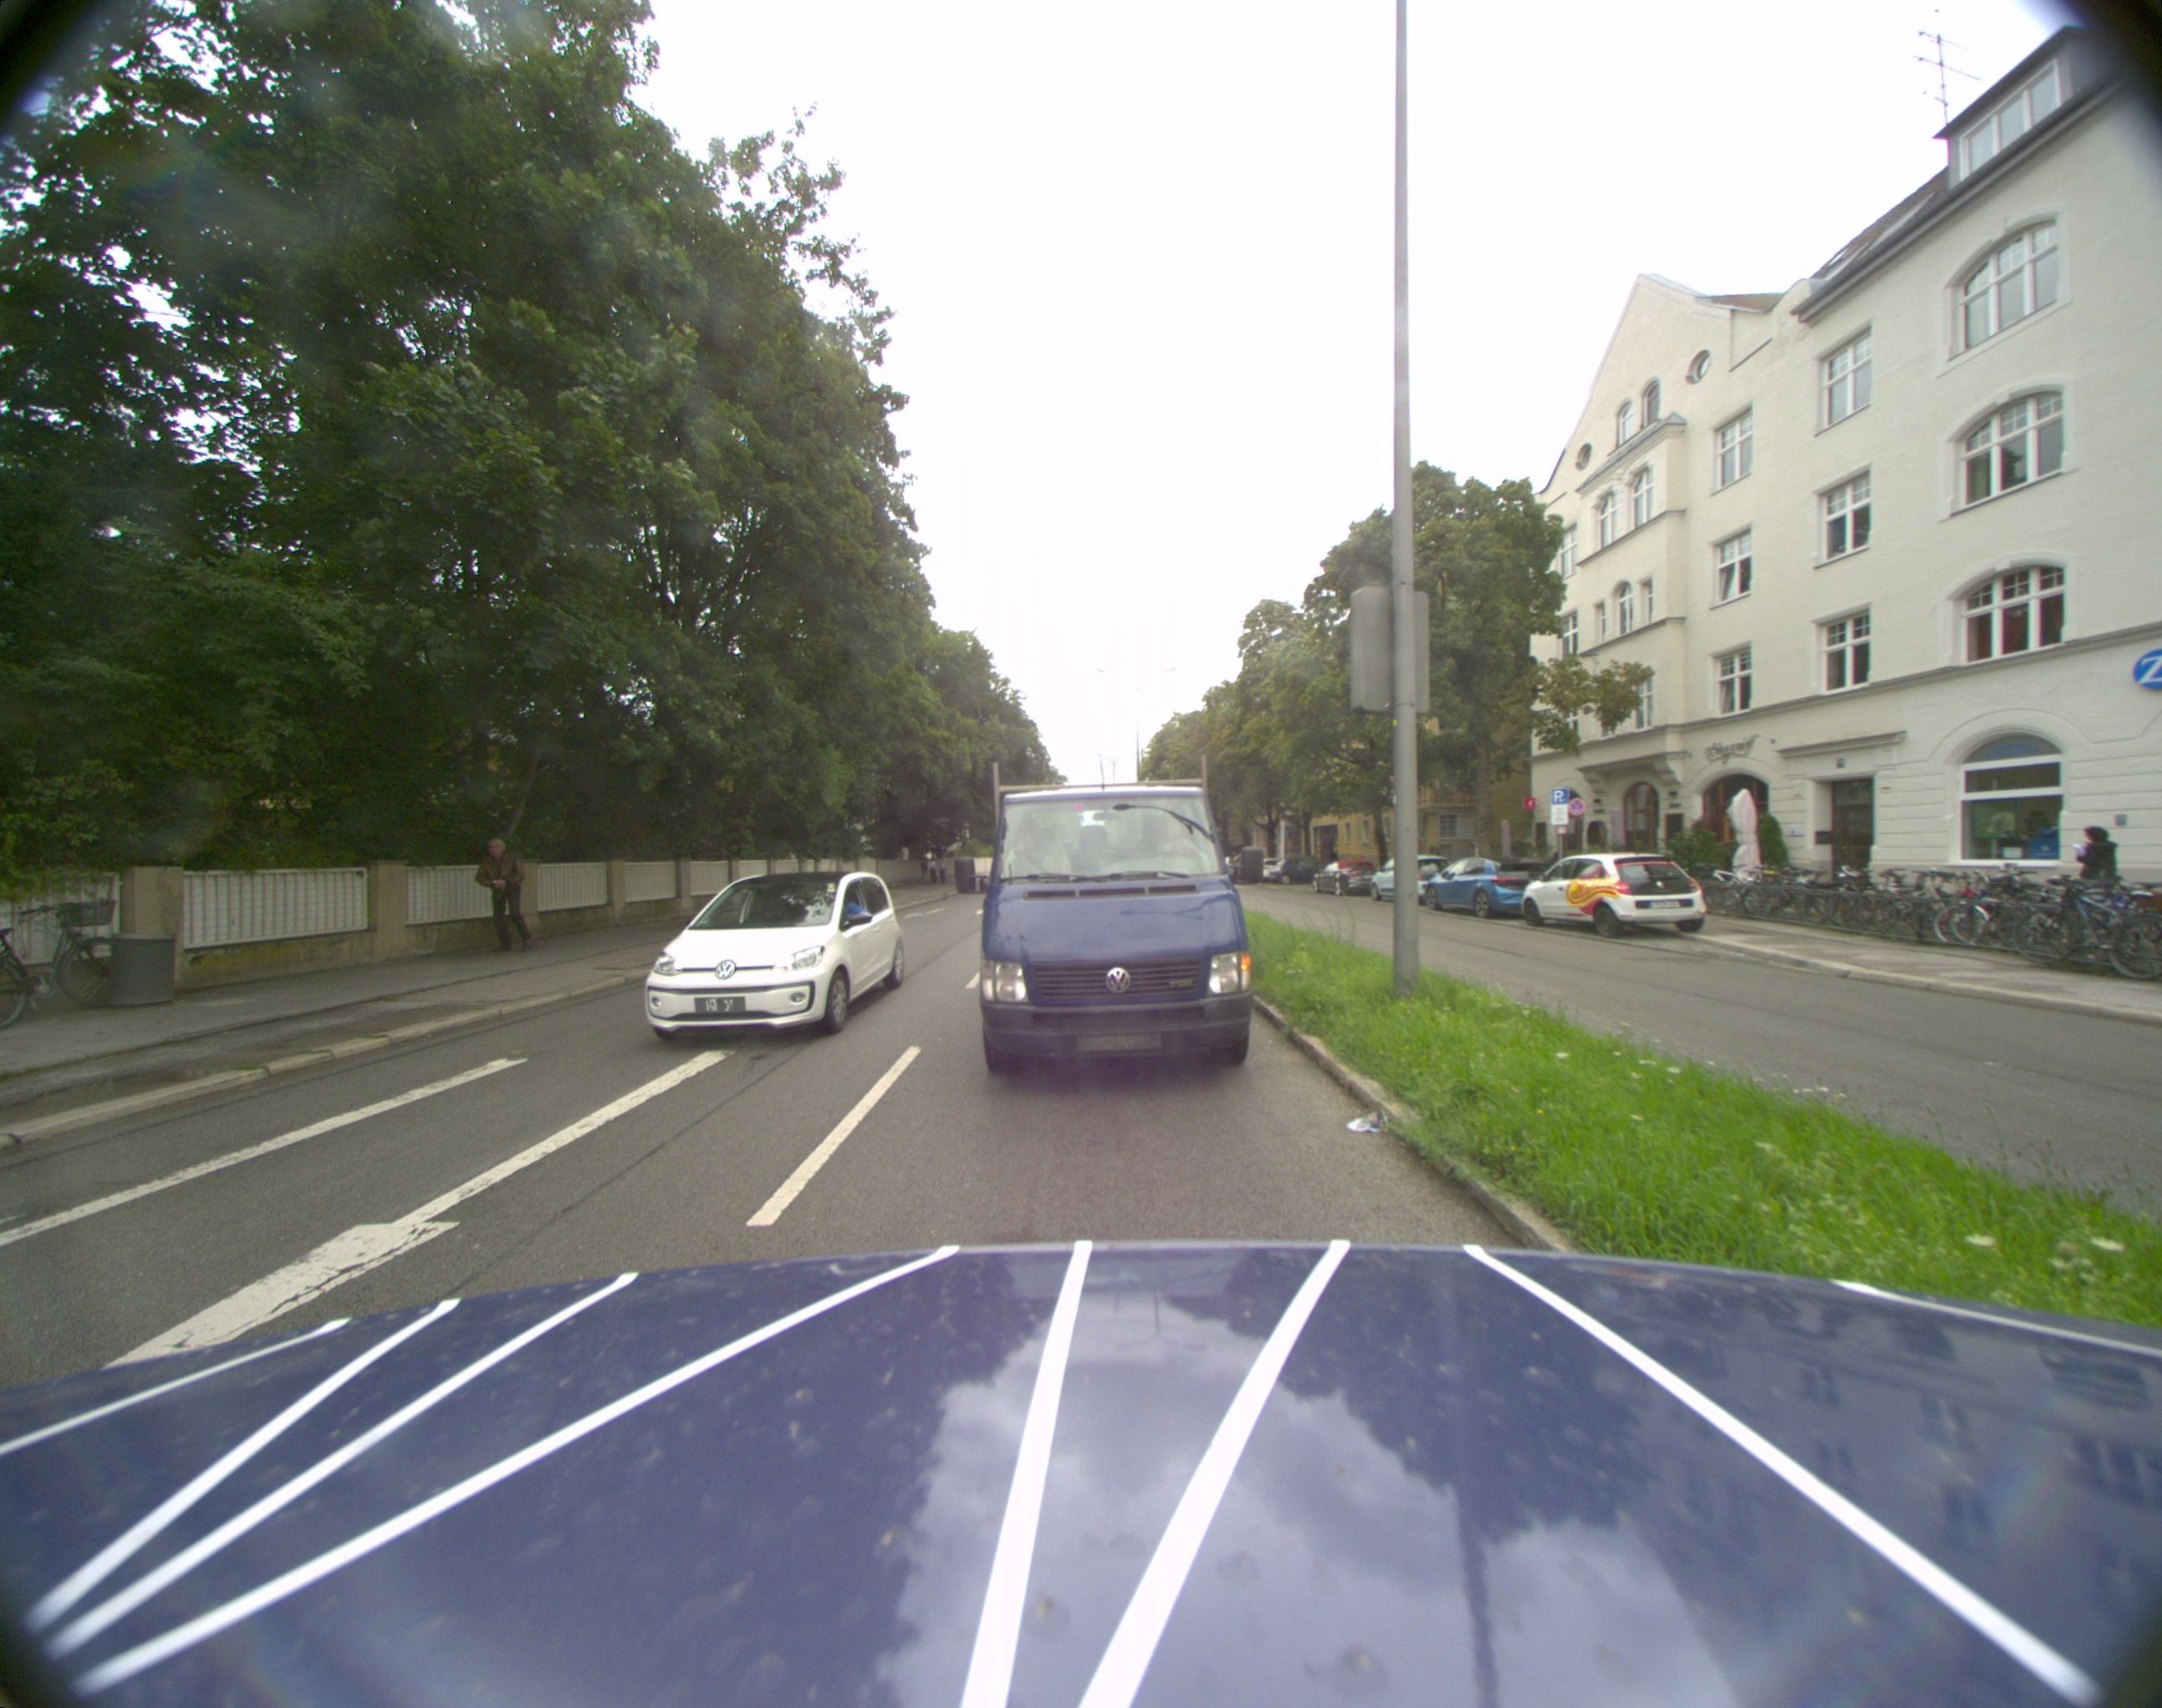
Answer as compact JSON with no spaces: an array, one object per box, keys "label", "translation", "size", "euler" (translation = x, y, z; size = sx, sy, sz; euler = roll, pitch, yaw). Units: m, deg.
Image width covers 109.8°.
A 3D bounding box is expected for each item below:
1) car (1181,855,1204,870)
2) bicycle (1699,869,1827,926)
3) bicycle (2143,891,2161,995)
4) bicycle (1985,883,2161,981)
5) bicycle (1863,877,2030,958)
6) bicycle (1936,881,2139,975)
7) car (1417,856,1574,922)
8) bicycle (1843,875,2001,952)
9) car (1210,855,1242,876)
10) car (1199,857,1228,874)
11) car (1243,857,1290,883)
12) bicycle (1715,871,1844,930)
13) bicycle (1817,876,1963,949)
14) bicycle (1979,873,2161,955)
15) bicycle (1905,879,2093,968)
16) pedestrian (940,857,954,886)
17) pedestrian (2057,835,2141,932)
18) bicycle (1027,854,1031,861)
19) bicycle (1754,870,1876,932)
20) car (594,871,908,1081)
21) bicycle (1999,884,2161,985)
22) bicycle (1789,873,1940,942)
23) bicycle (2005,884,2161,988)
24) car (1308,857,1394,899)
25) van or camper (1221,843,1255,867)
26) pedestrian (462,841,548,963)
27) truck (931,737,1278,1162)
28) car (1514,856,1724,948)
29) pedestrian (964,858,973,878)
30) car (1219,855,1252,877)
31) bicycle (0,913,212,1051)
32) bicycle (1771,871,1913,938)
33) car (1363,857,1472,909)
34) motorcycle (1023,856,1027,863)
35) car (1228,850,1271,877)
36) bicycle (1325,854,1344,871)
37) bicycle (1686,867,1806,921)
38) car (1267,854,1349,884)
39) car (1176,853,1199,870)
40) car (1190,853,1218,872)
[{"label":"car","translation":[11.092,0.810,75.732],"size":[1.696,1.446,4.492],"euler":[-1,0,1]},{"label":"bicycle","translation":[14.572,0.896,16.294],"size":[0.505,1.109,1.984],"euler":[-1,0,-31]},{"label":"bicycle","translation":[12.094,0.965,7.601],"size":[0.331,1.109,1.678],"euler":[-1,0,-23]},{"label":"bicycle","translation":[12.679,0.945,9.537],"size":[0.367,1.109,1.678],"euler":[-1,0,-23]},{"label":"bicycle","translation":[13.175,0.923,11.634],"size":[0.331,1.109,1.678],"euler":[-1,0,-23]},{"label":"bicycle","translation":[12.839,0.951,10.273],"size":[0.331,1.109,1.678],"euler":[-1,0,-23]},{"label":"car","translation":[10.686,0.824,20.002],"size":[1.815,1.498,4.291],"euler":[-1,0,1]},{"label":"bicycle","translation":[13.443,0.908,12.210],"size":[0.331,1.109,1.678],"euler":[-1,0,-23]},{"label":"car","translation":[11.294,0.874,59.274],"size":[1.731,1.552,4.057],"euler":[-1,0,1]},{"label":"car","translation":[11.184,0.940,64.192],"size":[1.731,1.398,4.363],"euler":[-1,0,1]},{"label":"car","translation":[10.953,0.900,45.052],"size":[1.731,1.394,4.404],"euler":[-1,0,1]},{"label":"bicycle","translation":[14.259,0.921,15.570],"size":[0.550,1.109,1.877],"euler":[-1,0,-31]},{"label":"bicycle","translation":[13.625,0.956,12.863],"size":[0.331,1.109,1.678],"euler":[-1,0,-23]},{"label":"bicycle","translation":[14.767,0.853,11.376],"size":[0.331,1.109,1.678],"euler":[-1,0,-23]},{"label":"bicycle","translation":[13.004,0.941,10.833],"size":[0.383,1.109,1.678],"euler":[-1,0,-23]},{"label":"pedestrian","translation":[-7.927,1.029,44.969],"size":[0.668,1.695,0.766],"euler":[1,1,0]},{"label":"pedestrian","translation":[17.481,0.495,13.066],"size":[0.422,1.622,0.783],"euler":[-1,1,7]},{"label":"bicycle","translation":[-8.851,0.622,129.079],"size":[0.490,1.092,1.631],"euler":[-1,0,-10]},{"label":"bicycle","translation":[14.208,0.876,14.762],"size":[0.331,1.109,1.677],"euler":[-1,0,-27]},{"label":"car","translation":[-3.022,1.009,7.818],"size":[1.647,1.553,3.586],"euler":[-1,0,0]},{"label":"bicycle","translation":[12.399,0.953,9.162],"size":[0.331,1.109,1.678],"euler":[-1,0,-23]},{"label":"bicycle","translation":[13.817,0.909,13.481],"size":[0.331,1.109,1.871],"euler":[-1,0,-23]},{"label":"bicycle","translation":[12.102,0.939,8.847],"size":[0.368,1.109,1.678],"euler":[-1,0,-23]},{"label":"car","translation":[10.733,0.891,30.548],"size":[1.815,1.498,4.645],"euler":[-1,0,1]},{"label":"van or camper","translation":[17.282,0.100,83.751],"size":[2.351,2.564,6.851],"euler":[-1,0,1]},{"label":"pedestrian","translation":[-9.416,0.755,12.453],"size":[0.779,1.931,0.802],"euler":[0,1,1]},{"label":"truck","translation":[0.179,0.562,7.035],"size":[1.998,2.475,5.151],"euler":[-1,0,1]},{"label":"car","translation":[10.574,0.849,15.309],"size":[1.653,1.576,3.790],"euler":[-1,0,2]},{"label":"pedestrian","translation":[-9.151,1.126,61.850],"size":[0.529,1.572,0.729],"euler":[1,1,0]},{"label":"car","translation":[11.180,0.839,55.092],"size":[1.731,1.549,3.009],"euler":[-1,0,-1]},{"label":"bicycle","translation":[-9.850,1.197,7.305],"size":[0.624,1.084,2.026],"euler":[-1,0,0]},{"label":"bicycle","translation":[14.004,0.893,14.060],"size":[0.331,1.109,1.871],"euler":[-1,0,-23]},{"label":"car","translation":[10.833,0.881,24.783],"size":[1.815,1.498,3.960],"euler":[-1,0,1]},{"label":"motorcycle","translation":[-8.931,0.826,121.538],"size":[0.497,1.135,1.631],"euler":[-1,0,-10]},{"label":"car","translation":[11.159,0.583,50.650],"size":[1.815,1.718,4.767],"euler":[-1,0,1]},{"label":"bicycle","translation":[19.323,0.652,57.901],"size":[0.771,1.215,1.930],"euler":[-1,0,0]},{"label":"bicycle","translation":[14.754,0.865,16.912],"size":[0.460,1.109,1.961],"euler":[-1,0,-31]},{"label":"car","translation":[12.342,0.777,41.432],"size":[3.899,1.455,1.732],"euler":[-2,0,-1]},{"label":"car","translation":[11.279,0.758,80.919],"size":[1.878,1.677,4.438],"euler":[-1,0,1]},{"label":"car","translation":[11.257,0.732,69.841],"size":[1.883,1.636,4.770],"euler":[-1,0,1]}]
